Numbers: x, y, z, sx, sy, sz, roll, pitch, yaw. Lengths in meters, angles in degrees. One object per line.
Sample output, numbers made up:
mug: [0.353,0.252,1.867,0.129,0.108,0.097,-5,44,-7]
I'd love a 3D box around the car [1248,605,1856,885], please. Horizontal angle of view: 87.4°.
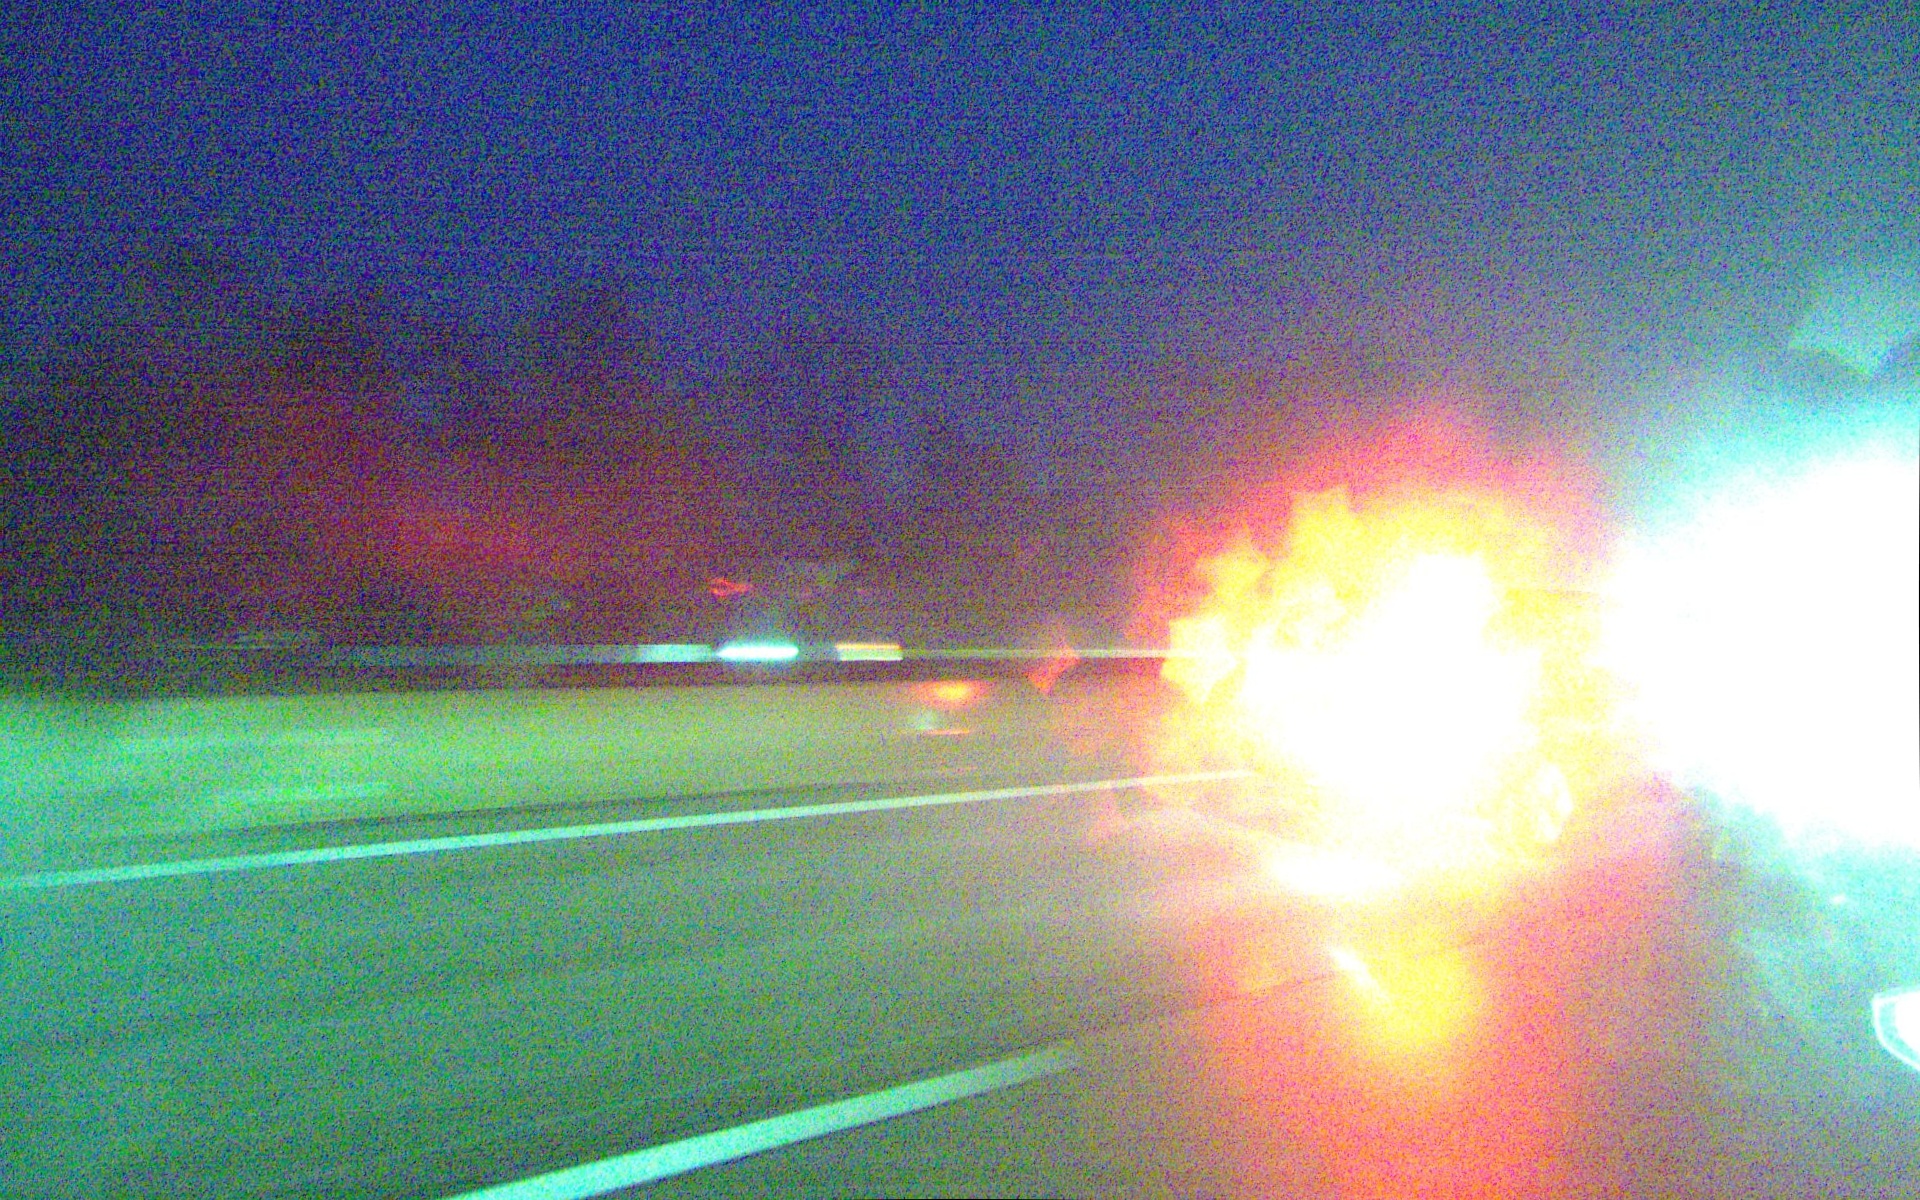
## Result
car: [4.566,0.829,7.584,4.692,1.561,1.850,0,0,-29]

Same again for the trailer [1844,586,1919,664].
trailer: [50.974,1.497,53.064,11.880,3.797,2.684,2,-4,-30]

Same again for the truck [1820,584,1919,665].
truck: [46.153,1.322,50.250,6.378,3.808,2.684,2,-4,-30]

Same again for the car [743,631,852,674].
car: [-5.724,1.837,35.446,3.510,1.302,1.479,1,3,-28]
